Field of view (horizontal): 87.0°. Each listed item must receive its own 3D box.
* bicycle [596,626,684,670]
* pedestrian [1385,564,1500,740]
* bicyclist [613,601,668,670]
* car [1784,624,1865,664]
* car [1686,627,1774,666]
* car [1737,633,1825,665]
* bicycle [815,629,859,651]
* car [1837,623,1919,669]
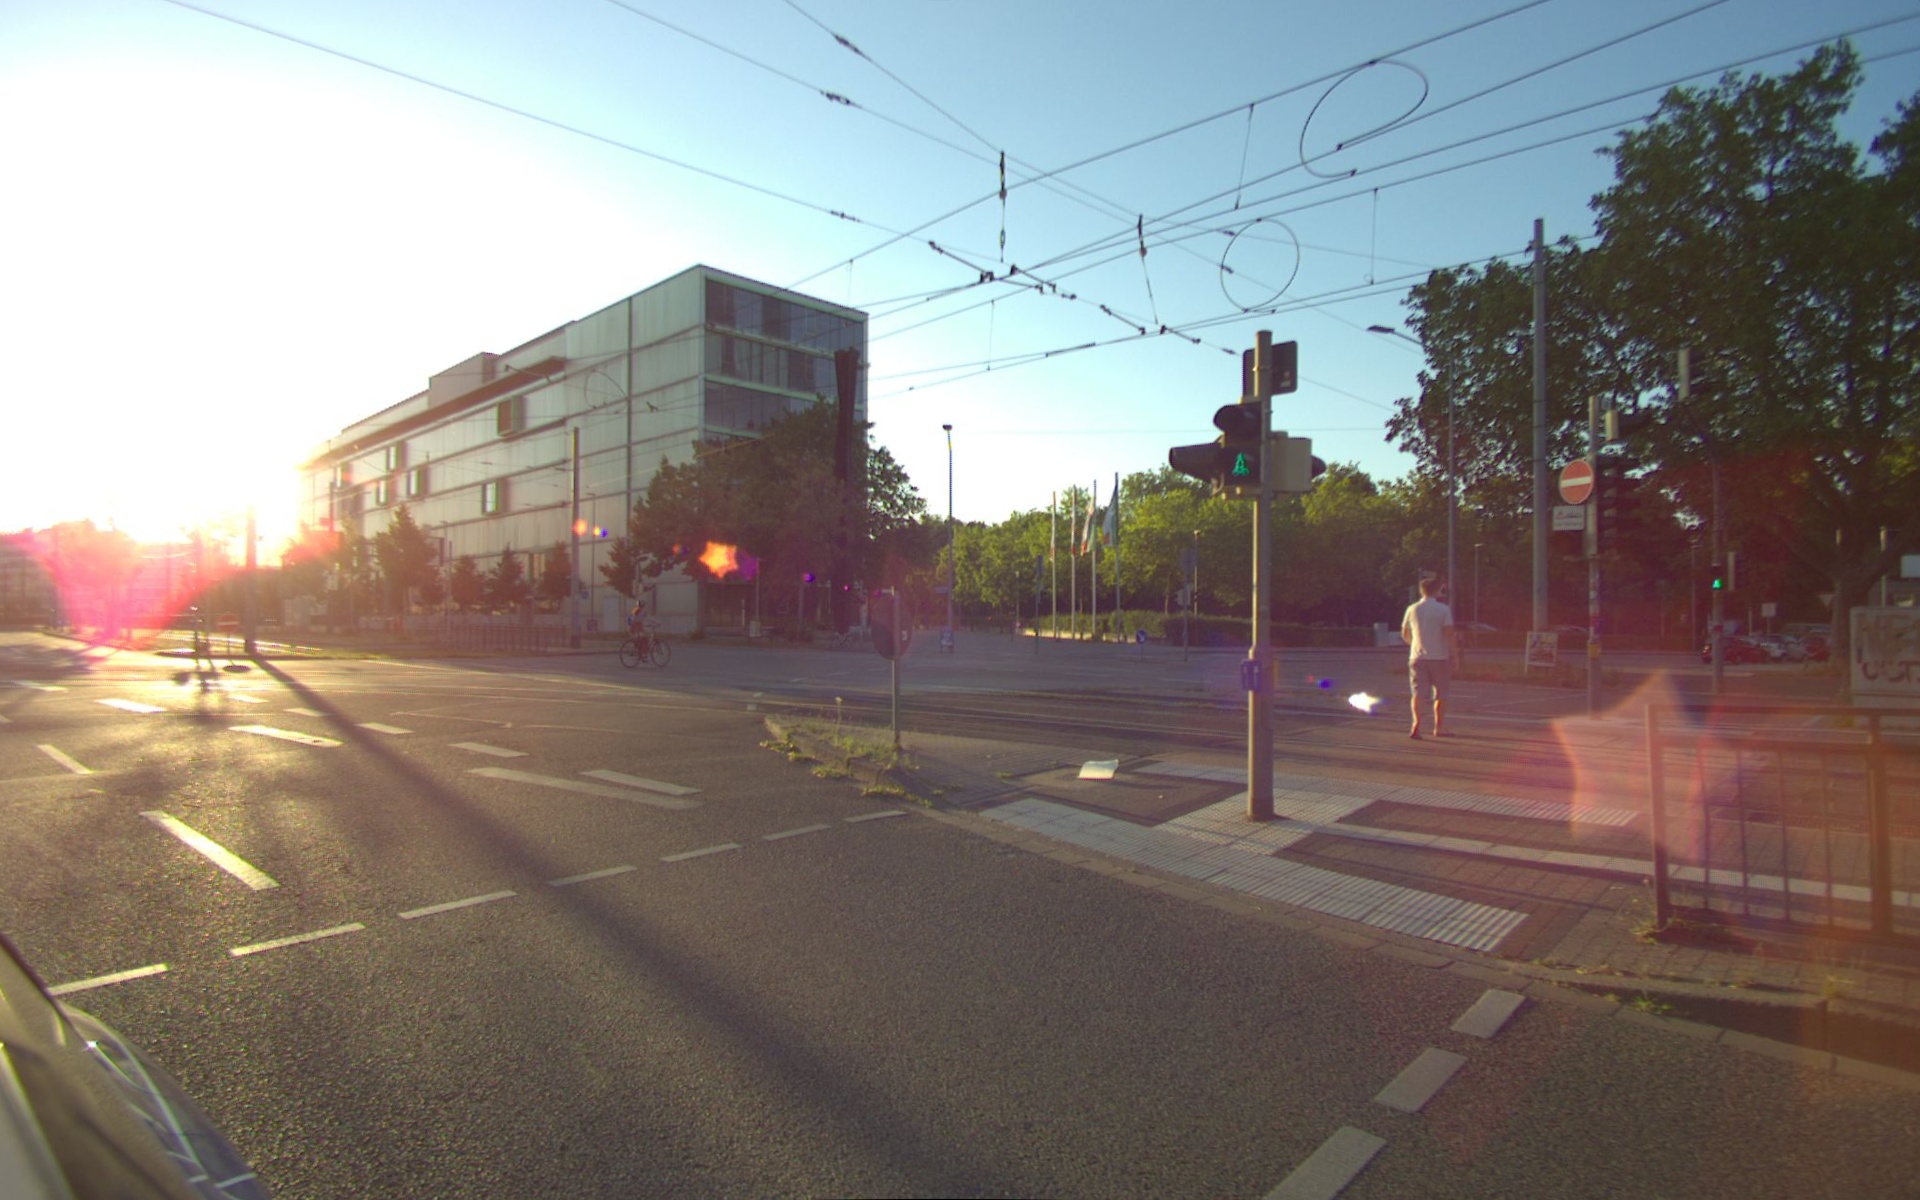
[{"bbox_3d":[-8.234,1.220,26.091,0.637,1.076,2.091,-1,-2,45],"label":"bicycle"},{"bbox_3d":[5.168,0.538,10.869,0.789,1.804,0.766,1,0,-14],"label":"pedestrian"},{"bbox_3d":[-8.252,0.916,26.106,0.981,1.731,1.035,2,-2,-45],"label":"bicyclist"},{"bbox_3d":[46.412,2.328,54.315,3.931,2.063,1.927,1,-2,-27],"label":"car"},{"bbox_3d":[38.966,2.329,51.237,3.807,1.889,1.880,1,-1,-23],"label":"car"},{"bbox_3d":[42.740,2.520,52.701,3.930,1.586,2.006,1,-1,-25],"label":"car"},{"bbox_3d":[-6.340,2.055,52.267,0.701,1.144,2.359,-1,-2,42],"label":"bicycle"},{"bbox_3d":[39.094,1.856,41.534,1.918,1.849,4.399,1,-2,-39],"label":"car"}]
